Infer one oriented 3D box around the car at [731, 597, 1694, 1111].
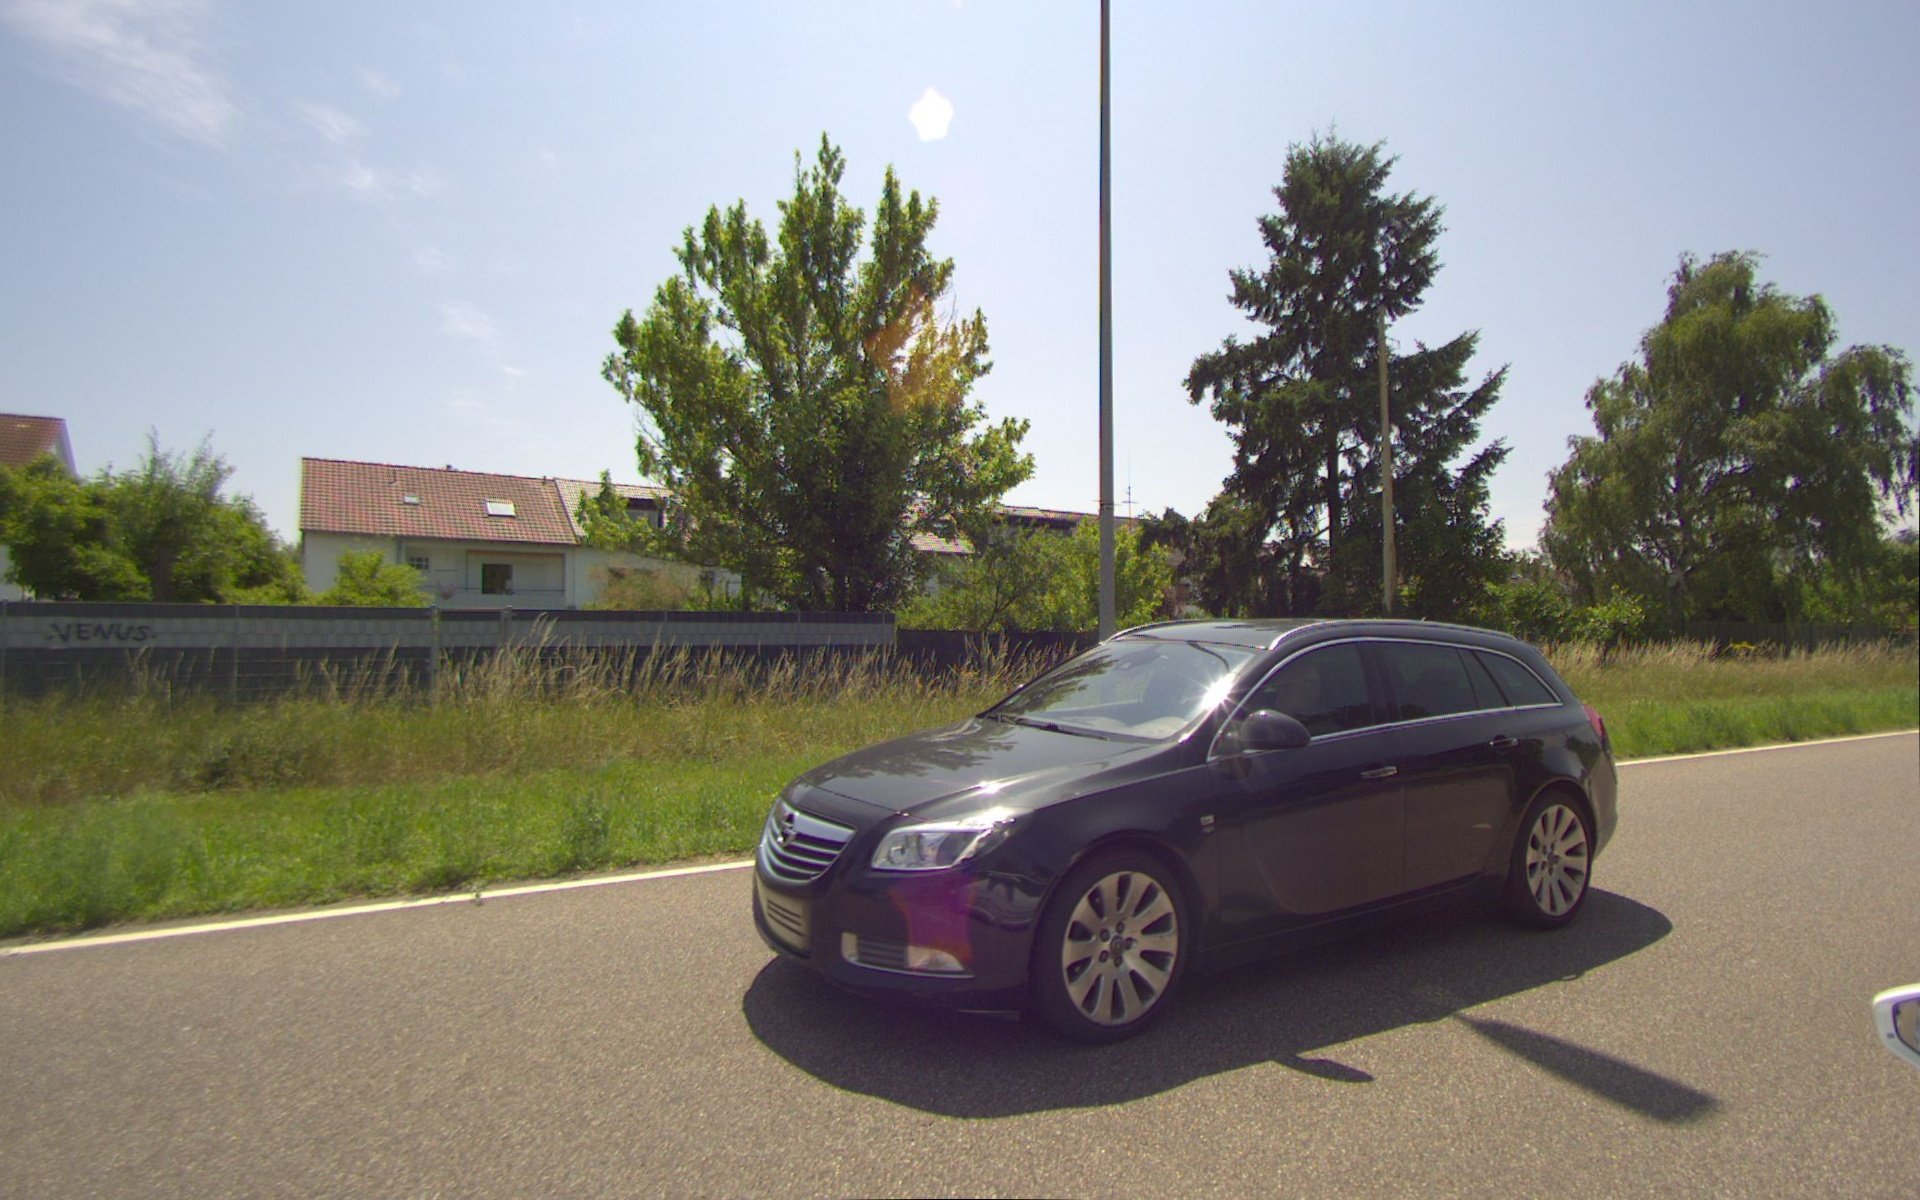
[{"bbox_3d":[1.458,0.821,4.949,4.773,1.515,1.727,1,-2,-30],"label":"car"}]
